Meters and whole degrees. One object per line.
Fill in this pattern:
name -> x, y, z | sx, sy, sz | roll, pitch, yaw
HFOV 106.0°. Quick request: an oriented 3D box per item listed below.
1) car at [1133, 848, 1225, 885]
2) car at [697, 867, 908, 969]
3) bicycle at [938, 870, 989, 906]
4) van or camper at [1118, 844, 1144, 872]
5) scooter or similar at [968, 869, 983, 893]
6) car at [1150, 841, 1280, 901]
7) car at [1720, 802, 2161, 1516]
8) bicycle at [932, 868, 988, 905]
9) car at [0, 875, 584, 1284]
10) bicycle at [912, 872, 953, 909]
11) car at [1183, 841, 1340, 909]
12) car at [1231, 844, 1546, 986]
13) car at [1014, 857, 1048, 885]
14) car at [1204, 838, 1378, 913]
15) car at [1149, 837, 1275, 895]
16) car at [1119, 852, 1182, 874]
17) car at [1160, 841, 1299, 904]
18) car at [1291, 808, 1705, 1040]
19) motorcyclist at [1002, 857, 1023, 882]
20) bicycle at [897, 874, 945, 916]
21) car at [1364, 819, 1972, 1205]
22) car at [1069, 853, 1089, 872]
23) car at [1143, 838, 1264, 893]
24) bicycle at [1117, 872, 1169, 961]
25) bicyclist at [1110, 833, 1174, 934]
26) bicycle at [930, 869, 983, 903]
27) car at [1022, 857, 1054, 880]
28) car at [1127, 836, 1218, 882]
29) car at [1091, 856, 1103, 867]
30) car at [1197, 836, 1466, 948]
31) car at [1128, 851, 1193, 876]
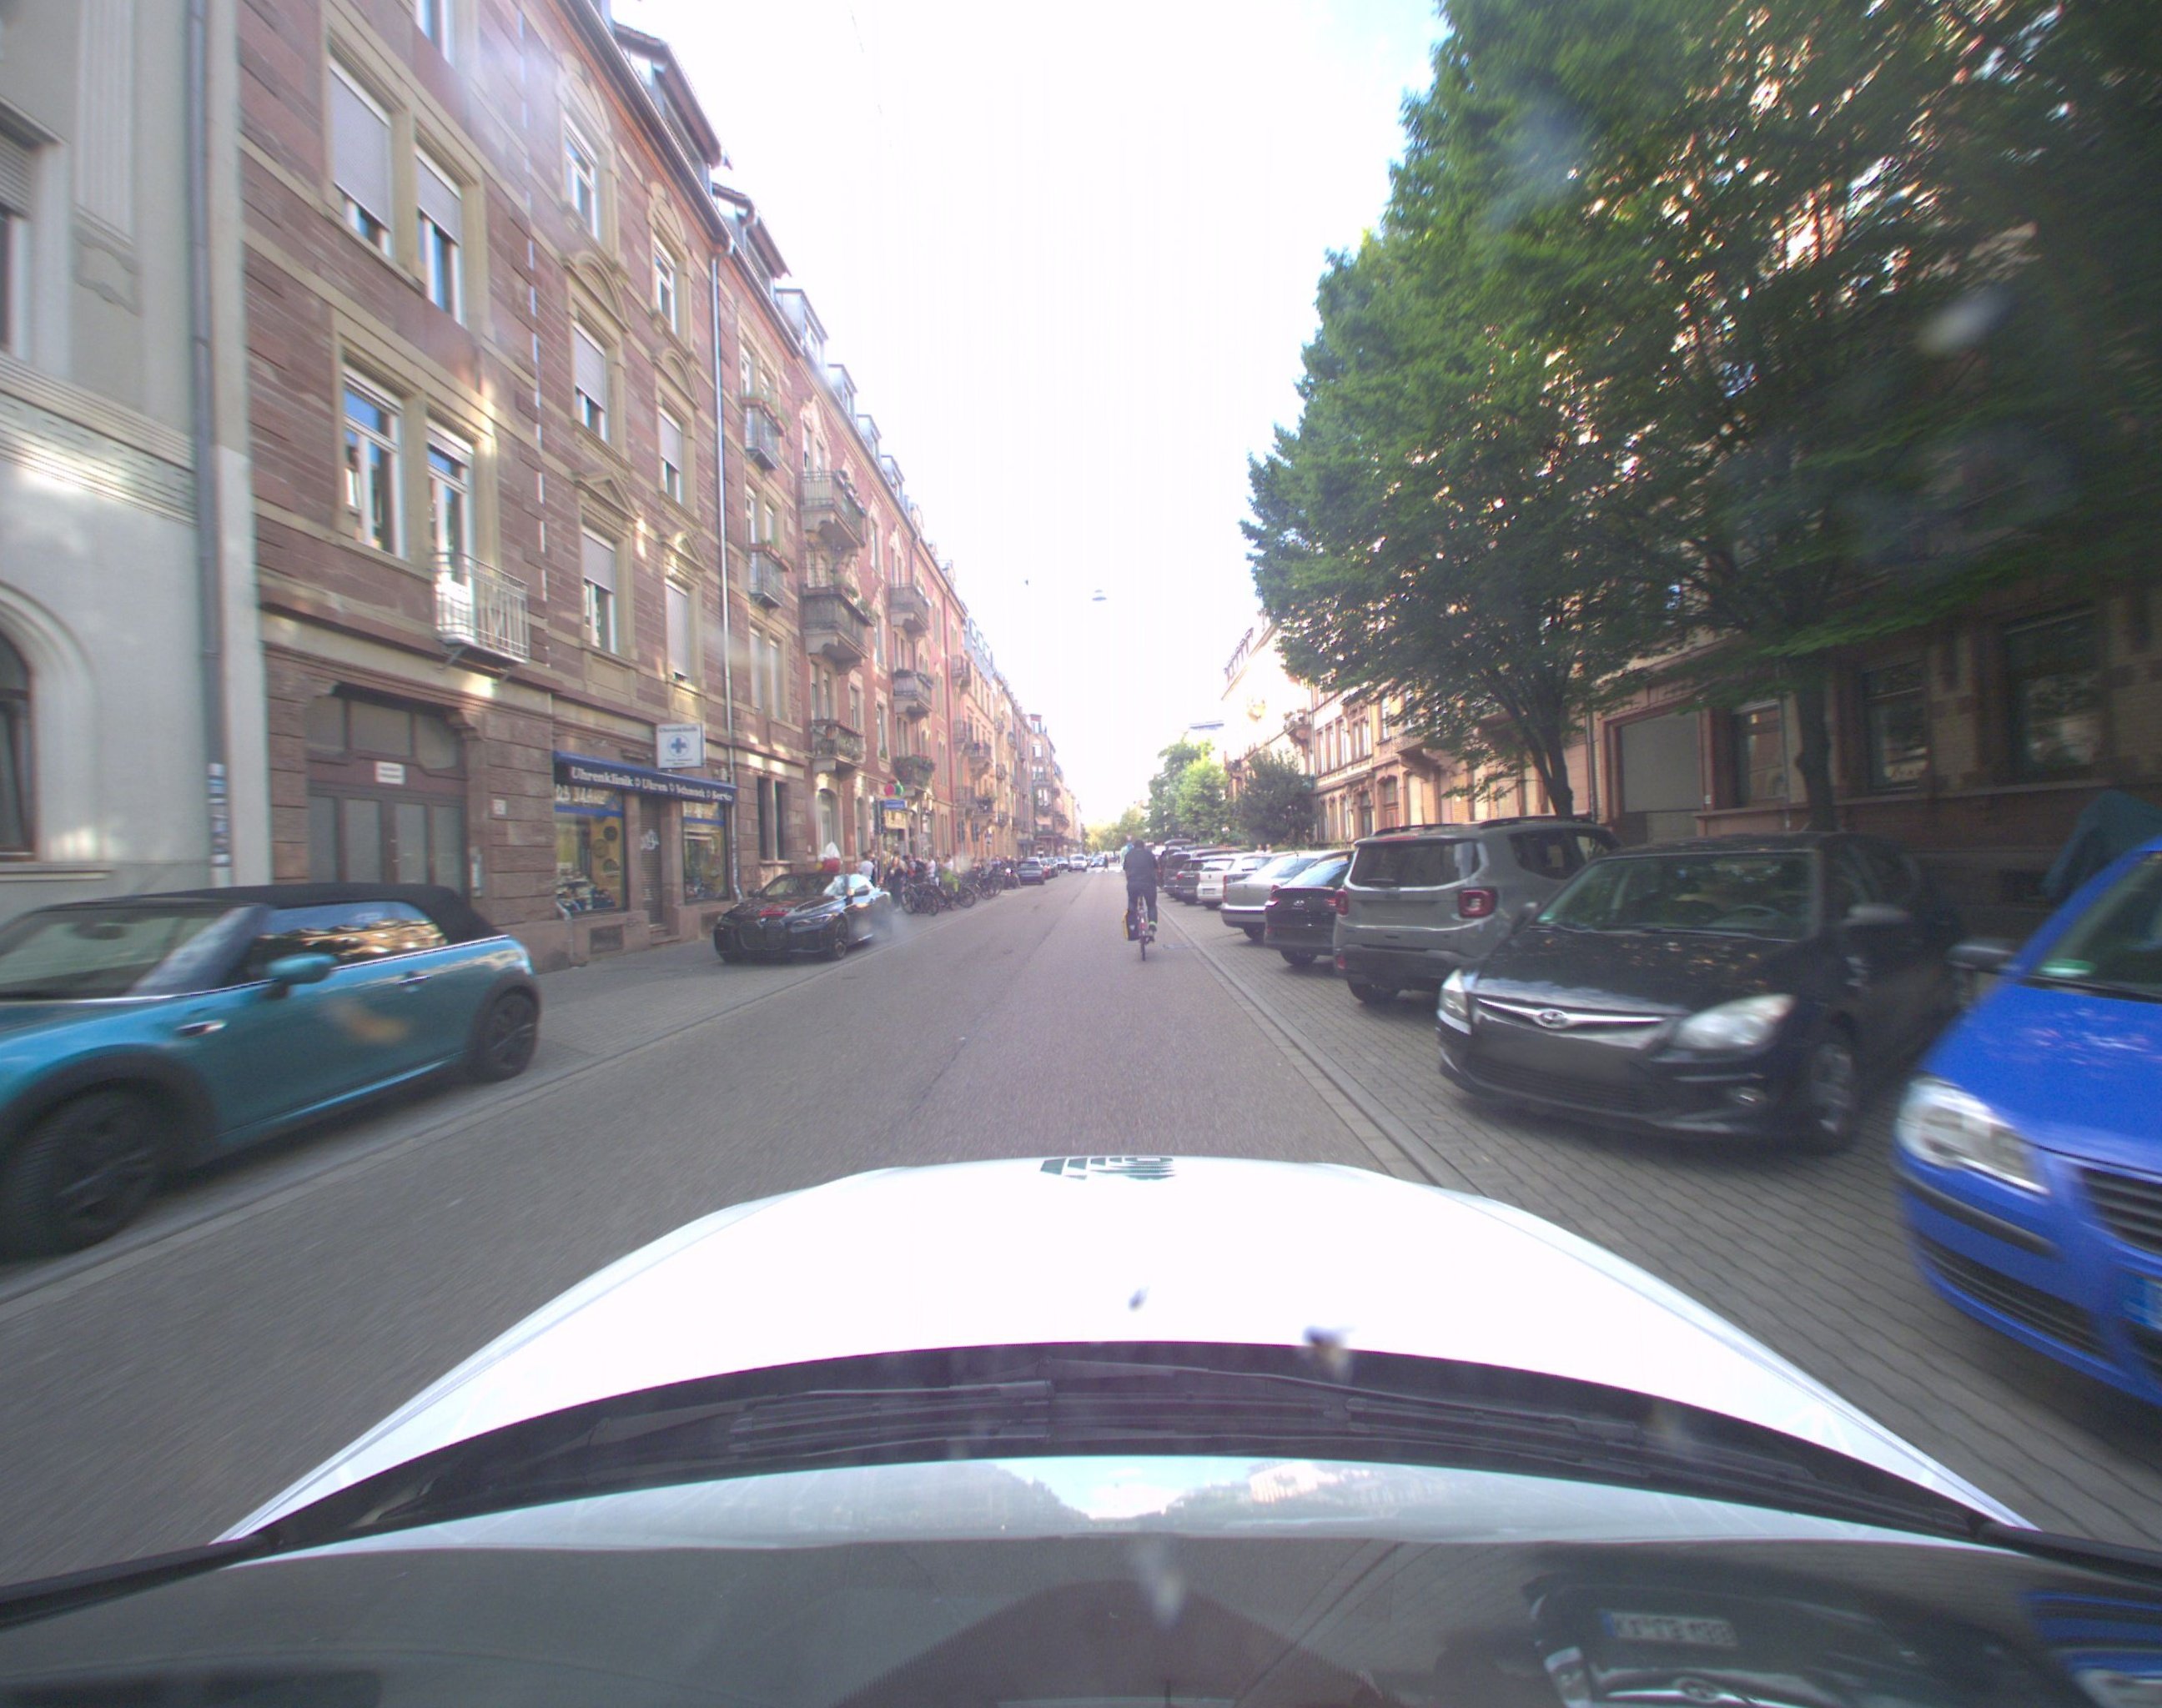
car -> 5.120, 0.611, 42.308 | 4.475, 1.732, 1.979 | -2, 0, -33
car -> -4.513, 0.949, 14.164 | 1.805, 1.351, 5.116 | -2, 0, 1
bicycle -> -3.908, 1.107, 27.121 | 1.577, 1.120, 0.584 | -1, 0, -35
van or camper -> 5.569, 0.440, 91.526 | 2.523, 3.037, 4.458 | -3, 0, 0
scooter or similar -> -4.718, 1.203, 36.430 | 0.604, 1.055, 0.921 | -1, 0, -3
car -> 4.573, 0.553, 27.629 | 4.012, 1.741, 1.822 | -4, 0, -29
car -> 4.105, 0.564, 2.518 | 4.008, 1.438, 1.710 | -4, 0, -26
bicycle -> -4.104, 1.097, 27.741 | 1.798, 1.200, 0.584 | -1, 0, -35
car -> -4.820, 0.885, 4.563 | 1.665, 1.415, 4.009 | -1, 0, -2
bicycle -> -4.622, 1.120, 25.453 | 0.574, 1.090, 1.745 | -1, 0, 15
car -> 4.991, 0.559, 22.406 | 4.014, 1.450, 1.719 | -5, -1, -31
car -> 4.183, 0.671, 10.891 | 4.155, 1.417, 1.849 | -3, 1, -34
car -> -2.961, 0.967, 48.795 | 1.820, 1.578, 5.260 | -1, 0, -2
car -> 5.199, 0.511, 20.021 | 4.017, 1.461, 1.867 | -4, -1, -34
car -> 4.901, 0.432, 30.302 | 4.418, 1.822, 1.738 | -4, -1, -30
car -> 5.808, 0.762, 67.888 | 4.779, 1.456, 2.039 | -5, 1, -27
car -> 4.616, 0.551, 25.078 | 4.018, 1.548, 1.848 | -5, 0, -36
car -> 4.176, 0.476, 7.987 | 4.016, 1.699, 1.833 | -3, 1, -33
motorcyclist -> -3.455, 0.794, 41.196 | 1.011, 1.245, 0.802 | -1, -1, -4
bicycle -> -4.454, 1.121, 22.613 | 1.561, 1.117, 0.376 | -2, -1, 40
car -> 3.880, 0.621, 5.163 | 4.143, 1.521, 1.825 | -1, -2, -35
car -> -0.182, 0.882, 85.862 | 1.910, 1.828, 4.440 | -1, 0, 2
car -> 4.979, 0.450, 33.519 | 4.621, 1.784, 1.810 | -5, 2, 0
bicycle -> 0.913, 0.892, 12.509 | 0.663, 1.178, 2.498 | -1, 0, 2
bicyclist -> 0.926, 0.445, 12.599 | 0.930, 1.484, 0.747 | -1, -1, 1
bicycle -> -4.316, 1.106, 28.334 | 1.745, 1.120, 0.549 | -1, 0, -35
car -> -3.149, 1.028, 60.200 | 1.986, 1.545, 4.427 | -3, -1, 1
car -> 5.417, 0.297, 48.033 | 5.178, 2.405, 1.899 | -3, 0, -32
car -> 2.372, 1.121, 119.813 | 1.744, 1.436, 4.211 | -2, -1, 0
car -> 4.454, 0.584, 14.264 | 4.627, 1.451, 1.775 | -4, 0, -31
car -> 5.809, 0.693, 59.460 | 4.486, 1.464, 1.860 | -5, 1, -33
